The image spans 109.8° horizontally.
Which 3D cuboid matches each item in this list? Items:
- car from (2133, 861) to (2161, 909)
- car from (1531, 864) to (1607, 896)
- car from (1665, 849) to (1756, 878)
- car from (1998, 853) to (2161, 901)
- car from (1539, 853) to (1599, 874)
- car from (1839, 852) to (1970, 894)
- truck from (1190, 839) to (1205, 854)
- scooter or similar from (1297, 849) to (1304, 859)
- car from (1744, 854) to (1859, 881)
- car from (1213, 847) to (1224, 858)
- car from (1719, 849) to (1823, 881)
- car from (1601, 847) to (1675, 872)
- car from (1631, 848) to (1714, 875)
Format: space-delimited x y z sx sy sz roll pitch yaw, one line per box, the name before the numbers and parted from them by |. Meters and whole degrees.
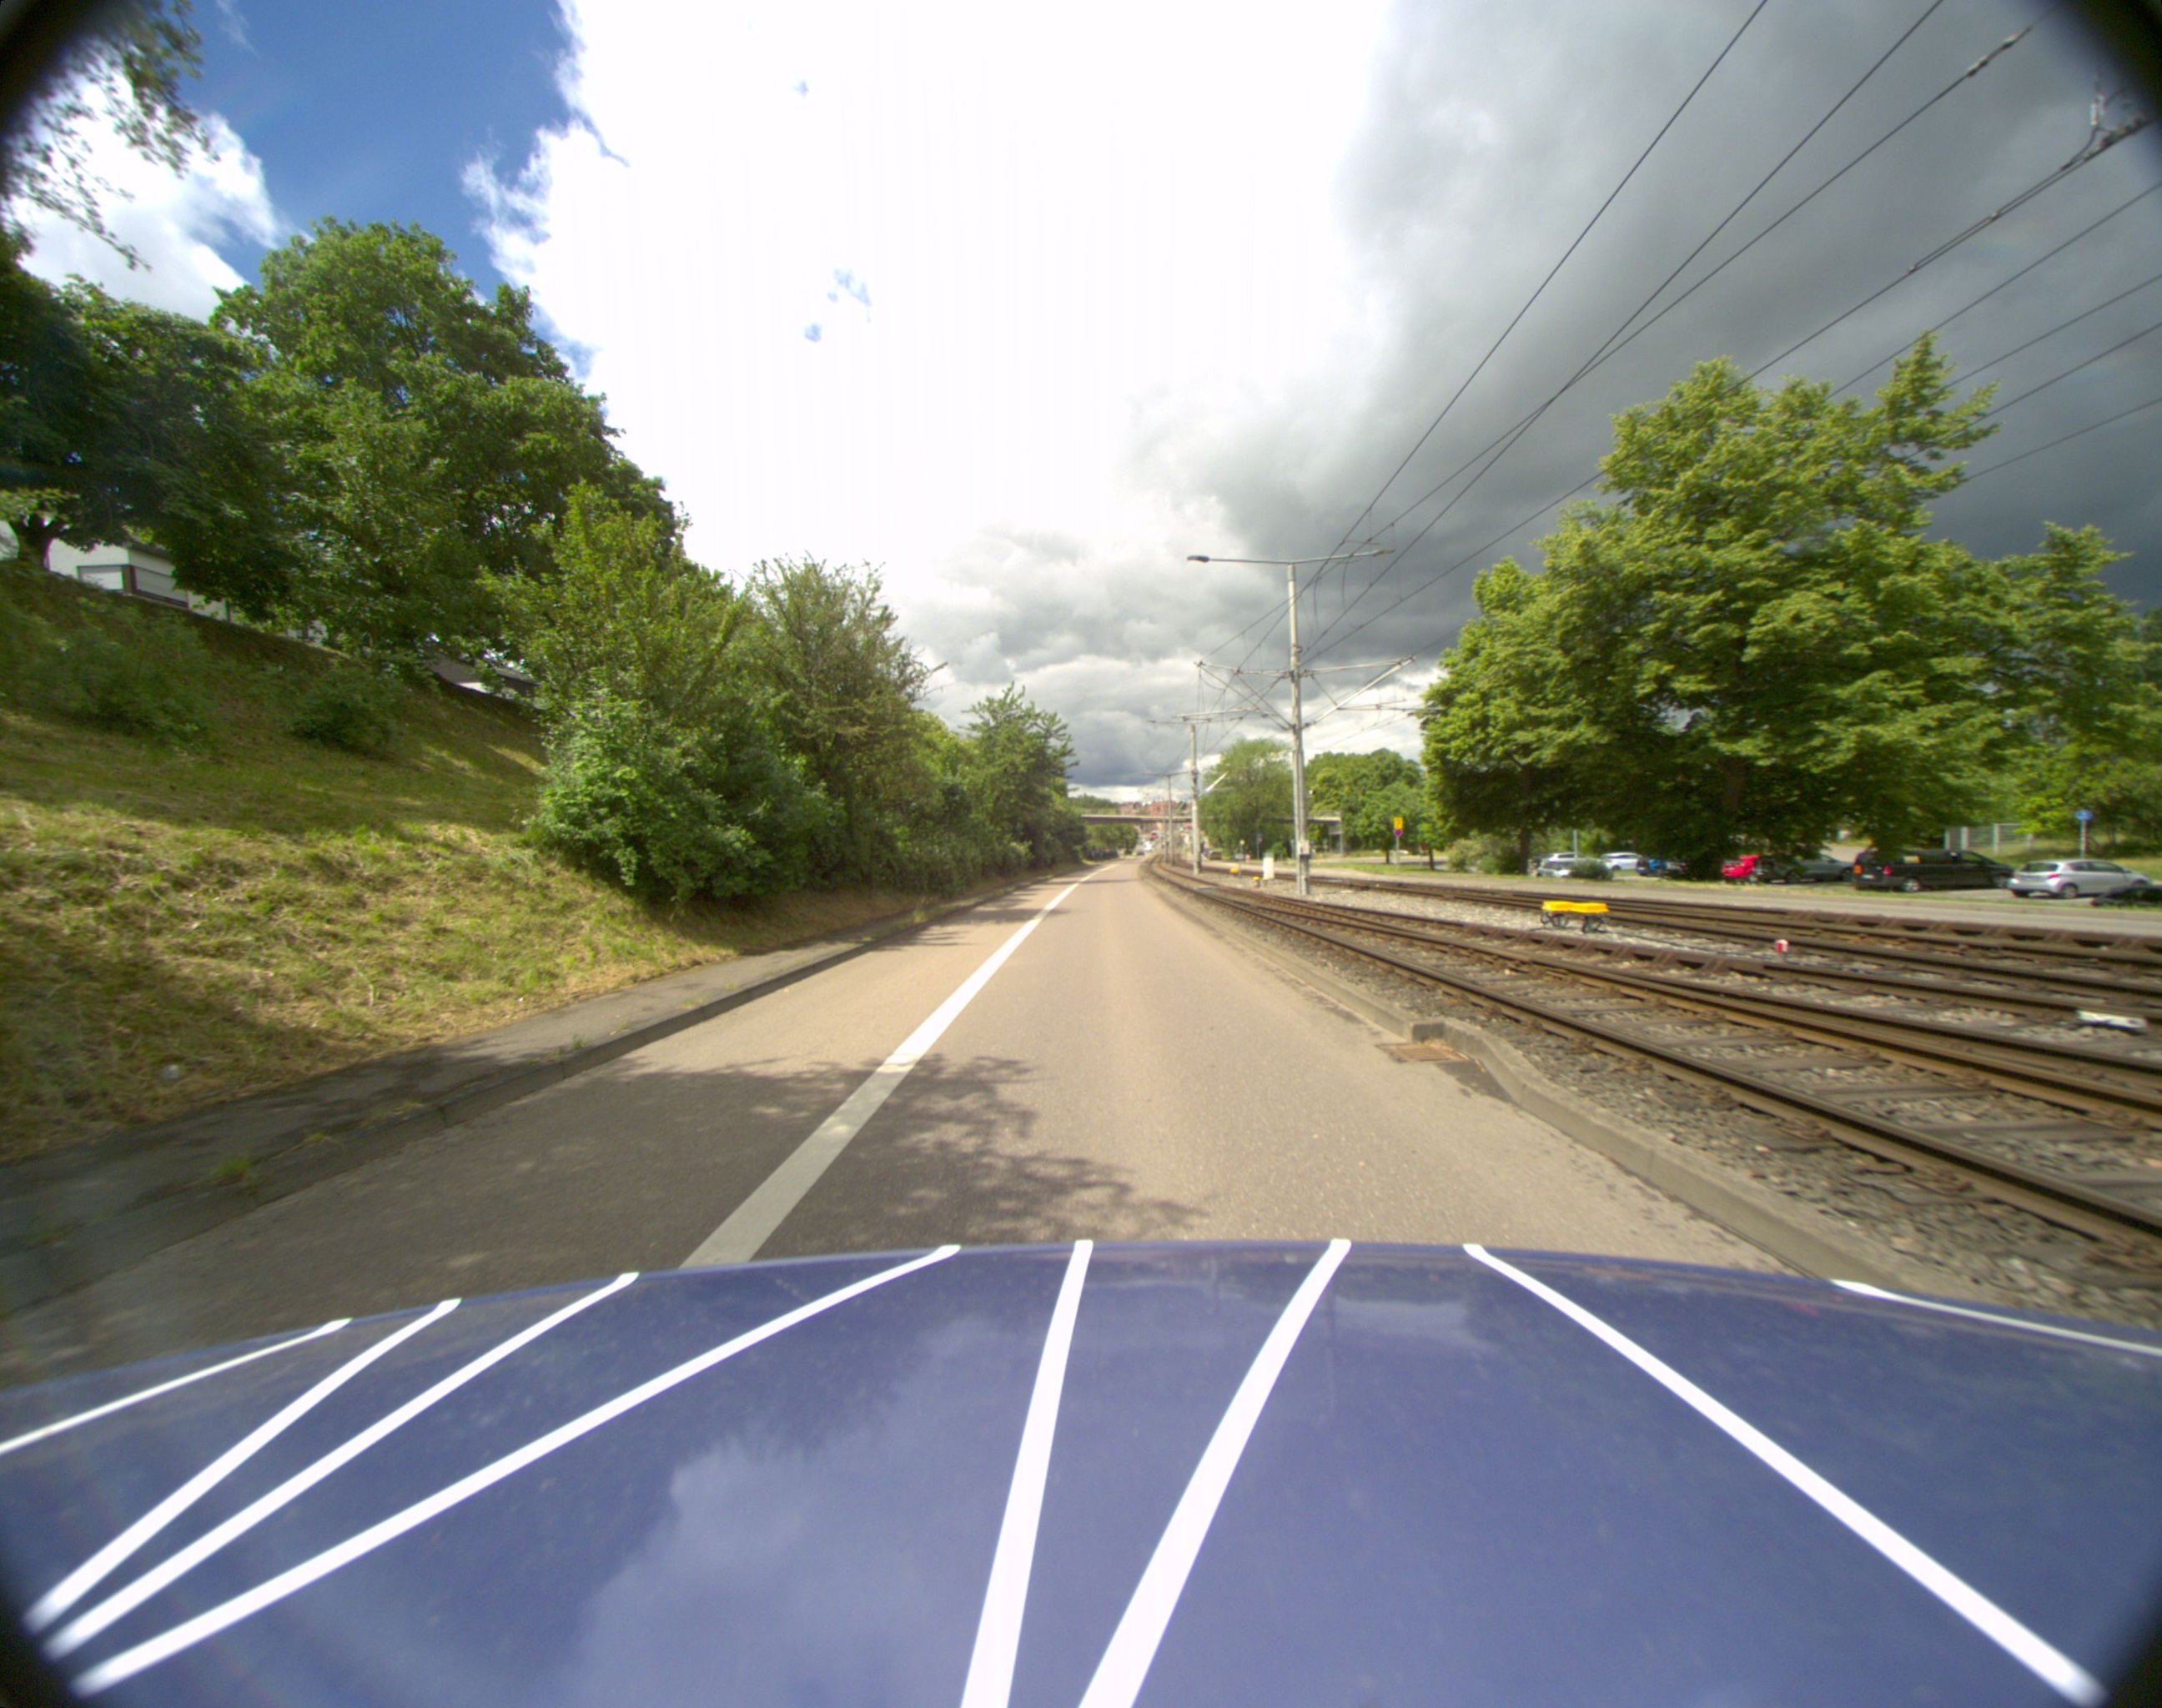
car | 38.941 0.973 25.557 3.994 1.589 1.860 -3 1 10
car | 29.736 1.551 46.445 1.994 1.744 4.070 -3 -1 2
car | 39.969 0.625 48.354 3.962 1.570 1.995 -4 -1 9
car | 39.303 0.891 29.760 3.994 1.589 1.860 -3 1 11
car | 40.369 0.768 62.938 3.876 1.383 1.574 -3 2 10
car | 37.920 0.863 35.076 3.602 1.628 1.952 -3 1 11
truck | 28.265 -1.843 185.123 2.877 3.301 9.031 -4 1 5
scooter or similar | 26.837 0.040 92.969 0.712 1.141 0.788 -3 2 9
car | 39.302 0.727 41.549 4.090 1.245 1.997 -4 -1 9
car | 22.660 -0.264 125.391 1.692 1.442 3.899 -3 2 8
car | 39.697 0.640 43.804 3.962 1.570 1.997 -4 -1 9
car | 40.574 0.370 55.421 3.921 1.570 1.845 -4 -1 17
car | 39.945 0.512 51.375 3.962 1.570 1.870 -4 -1 9
